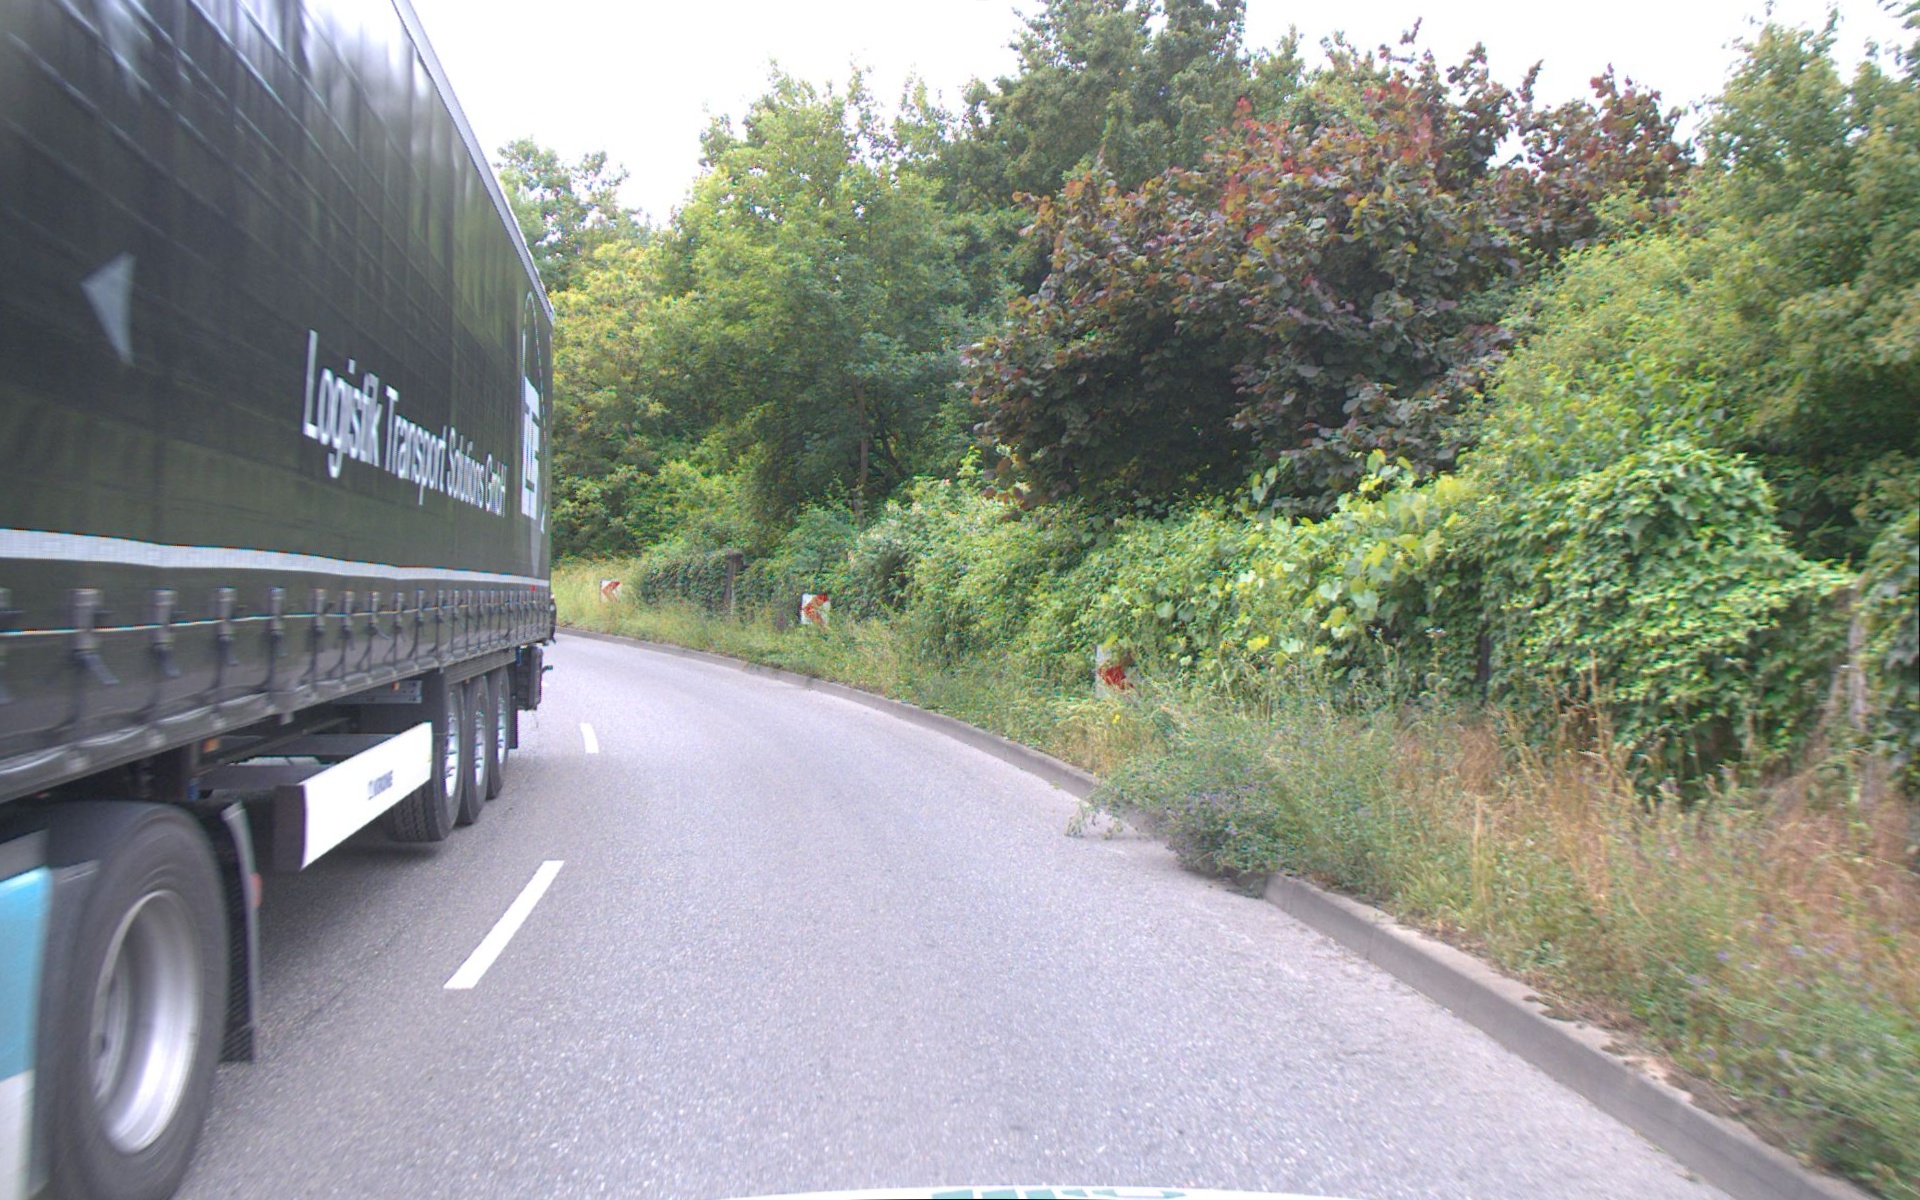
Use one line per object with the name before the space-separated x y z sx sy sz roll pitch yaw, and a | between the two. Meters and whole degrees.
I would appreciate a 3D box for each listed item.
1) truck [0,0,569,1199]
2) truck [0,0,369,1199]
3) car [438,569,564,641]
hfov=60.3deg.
truck | -3.737 -0.569 8.275 2.655 4.019 13.801 -1 1 -10
truck | -2.706 -0.517 1.676 2.654 4.019 6.319 -1 1 -8
car | -10.412 0.153 37.349 1.820 1.510 3.958 0 -2 -30
